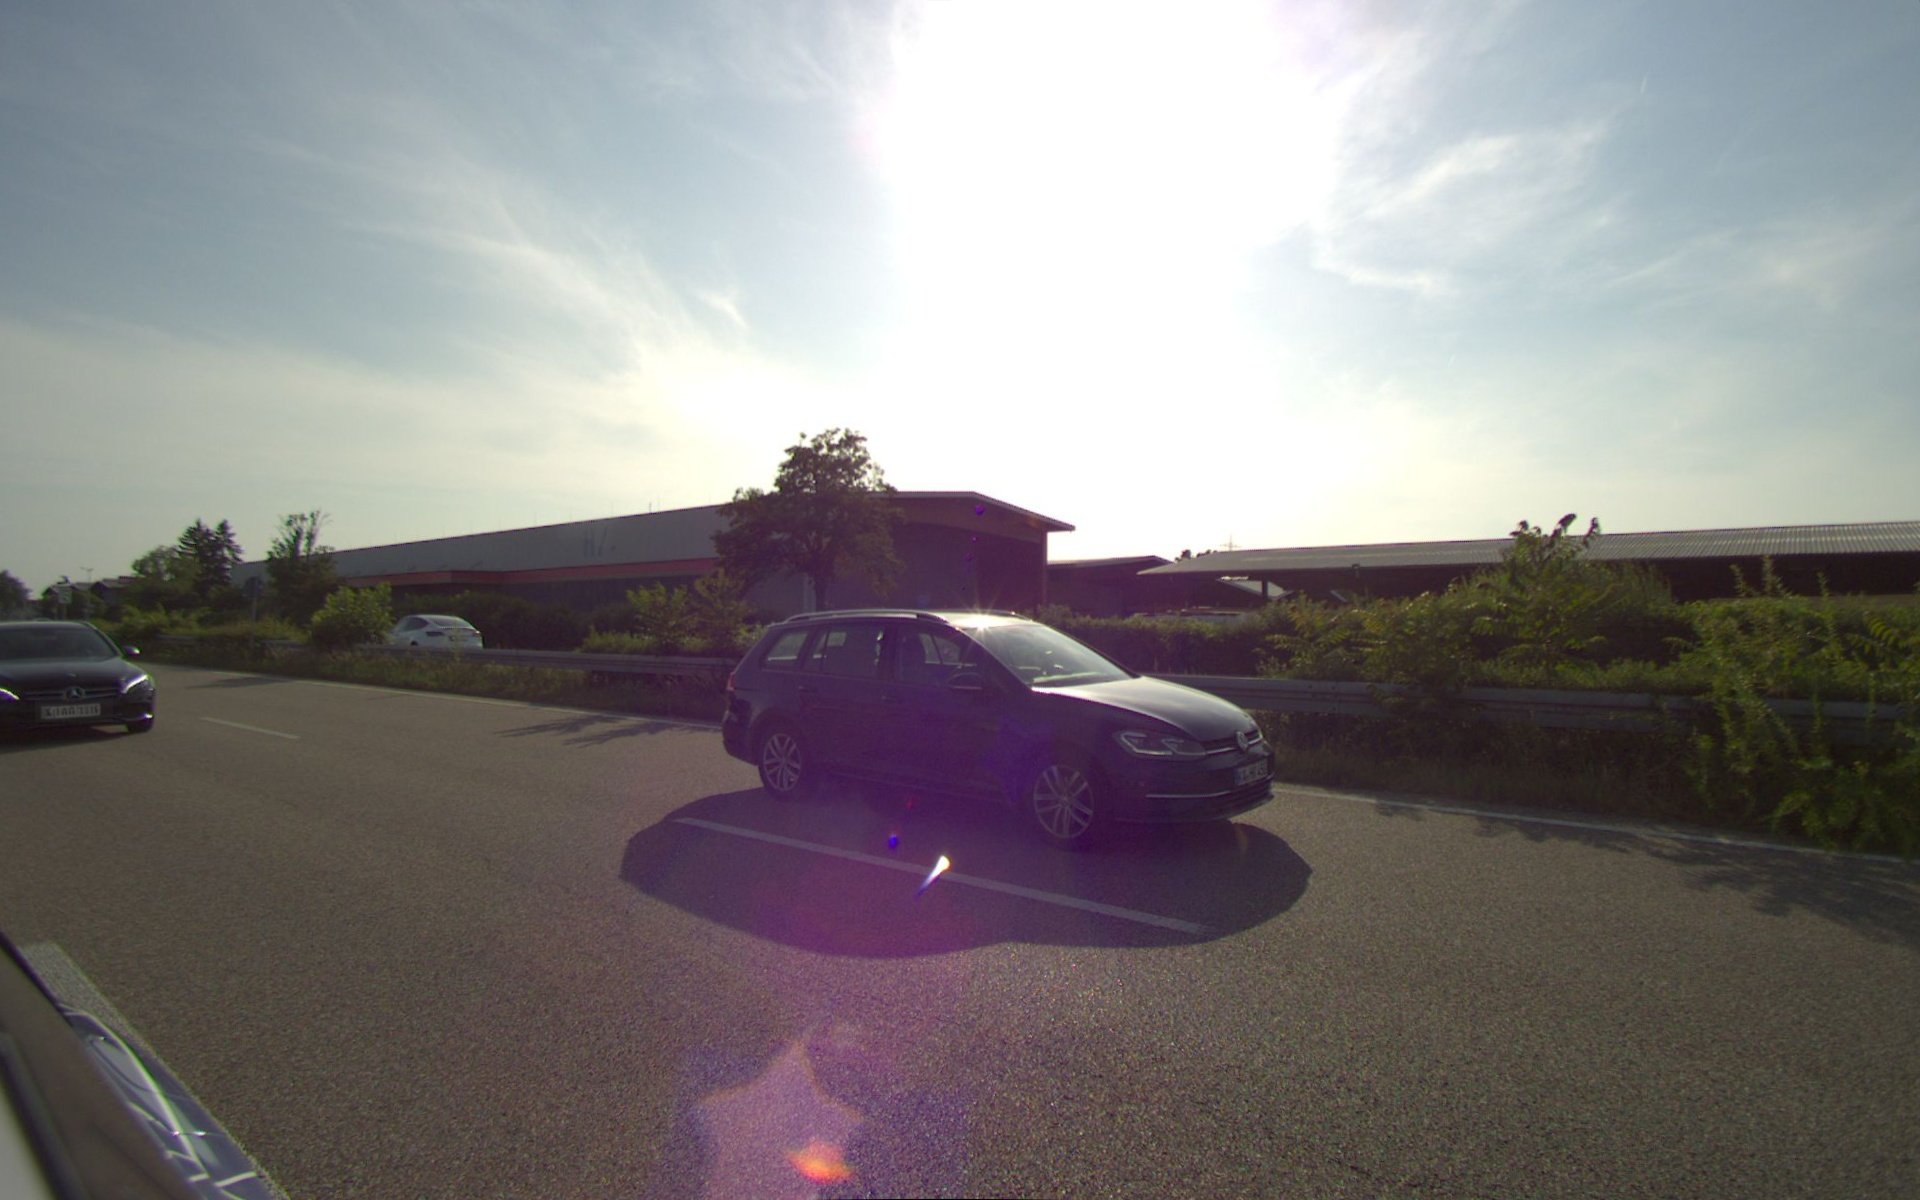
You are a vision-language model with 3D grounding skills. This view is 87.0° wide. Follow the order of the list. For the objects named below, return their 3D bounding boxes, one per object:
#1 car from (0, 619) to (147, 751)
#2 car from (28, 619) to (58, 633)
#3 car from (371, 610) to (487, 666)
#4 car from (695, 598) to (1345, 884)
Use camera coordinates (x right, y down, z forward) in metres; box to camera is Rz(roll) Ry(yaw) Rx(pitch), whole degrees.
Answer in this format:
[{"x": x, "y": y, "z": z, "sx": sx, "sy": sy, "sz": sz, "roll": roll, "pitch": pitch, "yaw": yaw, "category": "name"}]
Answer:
[{"x": -12.348, "y": 0.996, "z": 13.412, "sx": 5.019, "sy": 1.482, "sz": 1.556, "roll": -1, "pitch": -2, "yaw": 41, "category": "car"}, {"x": -94.142, "y": 2.628, "z": 103.864, "sx": 3.998, "sy": 1.435, "sz": 1.761, "roll": -1, "pitch": -2, "yaw": 41, "category": "car"}, {"x": -16.830, "y": 1.145, "z": 32.036, "sx": 3.997, "sy": 1.625, "sz": 1.909, "roll": 0, "pitch": 0, "yaw": 40, "category": "car"}, {"x": 0.138, "y": 0.790, "z": 7.443, "sx": 4.773, "sy": 1.482, "sz": 1.629, "roll": -1, "pitch": -2, "yaw": 41, "category": "car"}]
